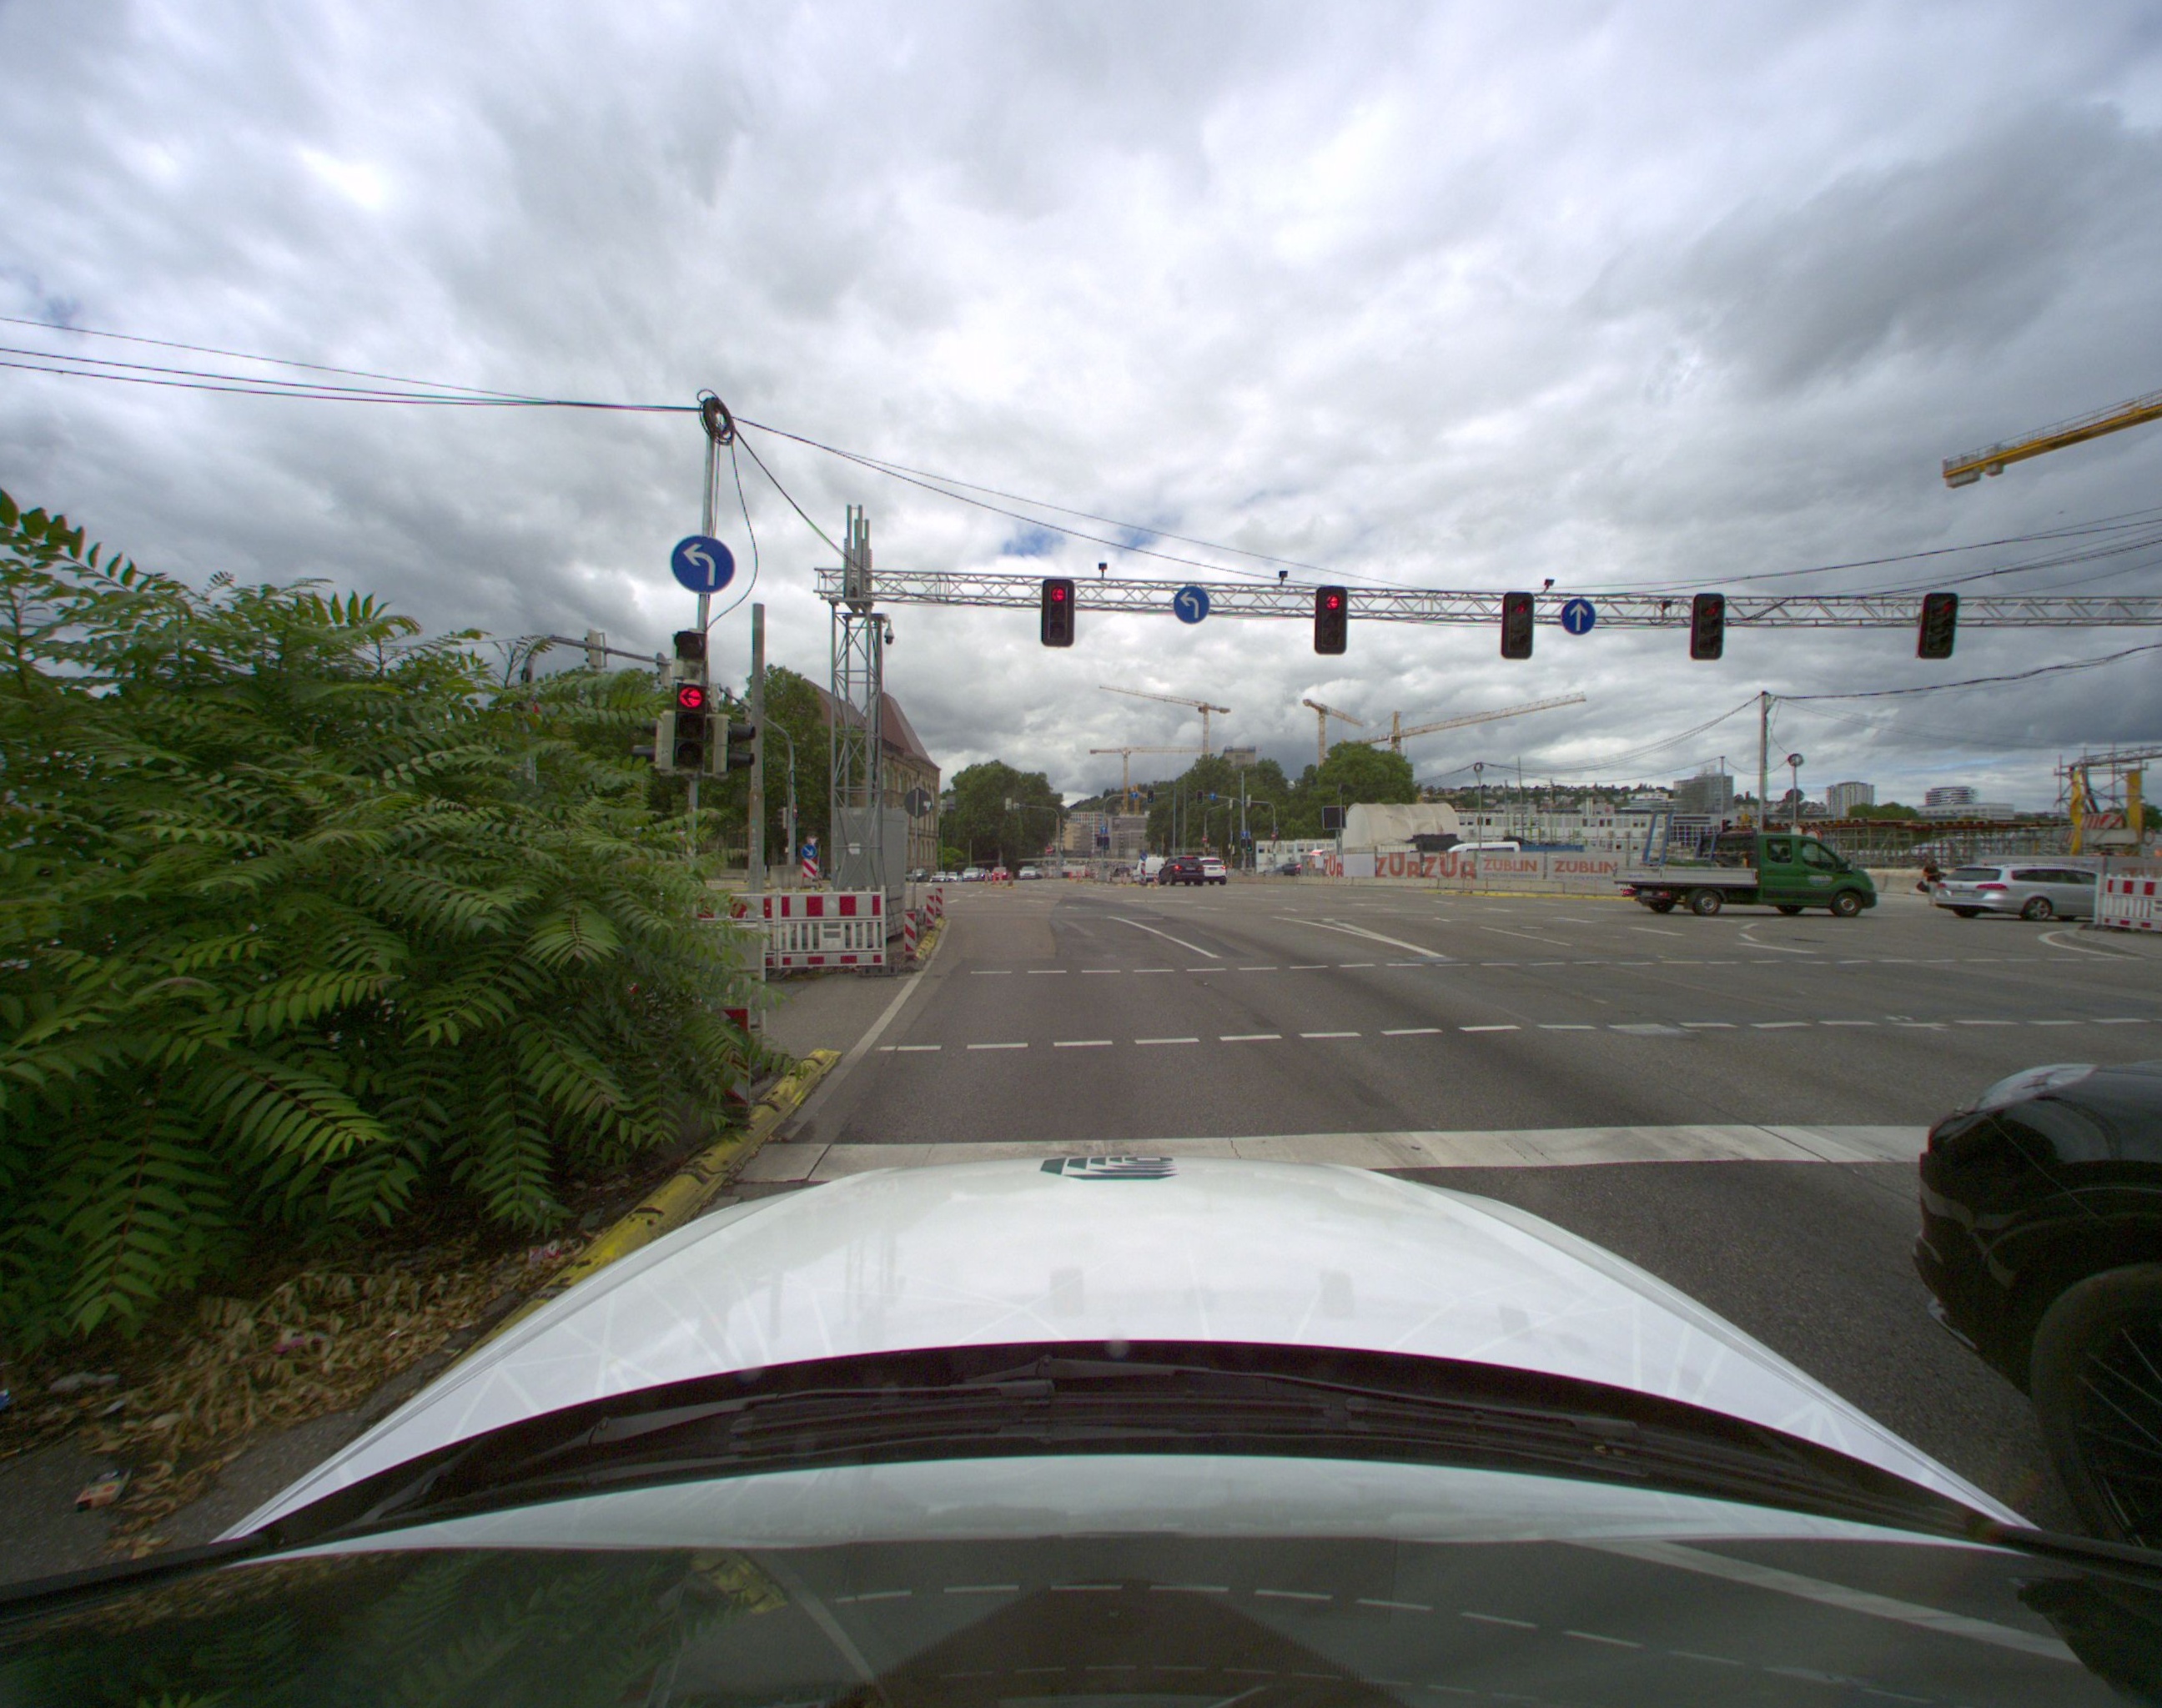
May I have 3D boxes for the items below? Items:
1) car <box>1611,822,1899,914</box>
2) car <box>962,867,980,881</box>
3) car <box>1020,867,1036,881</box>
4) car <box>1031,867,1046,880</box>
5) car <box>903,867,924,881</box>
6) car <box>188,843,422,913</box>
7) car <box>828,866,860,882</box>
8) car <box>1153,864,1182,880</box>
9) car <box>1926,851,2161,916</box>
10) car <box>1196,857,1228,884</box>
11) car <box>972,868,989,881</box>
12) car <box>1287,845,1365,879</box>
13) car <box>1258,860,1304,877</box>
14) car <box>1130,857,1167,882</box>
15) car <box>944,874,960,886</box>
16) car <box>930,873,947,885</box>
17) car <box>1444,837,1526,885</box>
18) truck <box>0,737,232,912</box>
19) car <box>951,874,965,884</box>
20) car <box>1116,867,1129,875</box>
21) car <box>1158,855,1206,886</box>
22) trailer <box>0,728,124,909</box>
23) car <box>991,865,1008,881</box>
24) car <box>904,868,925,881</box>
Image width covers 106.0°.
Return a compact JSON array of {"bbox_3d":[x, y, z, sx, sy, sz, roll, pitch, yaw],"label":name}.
[{"bbox_3d":[17.841,0.364,21.832,5.736,2.305,2.305,0,-1,2],"label":"car"},{"bbox_3d":[-11.621,2.111,86.072,1.673,1.398,3.677,0,-1,-4],"label":"car"},{"bbox_3d":[-5.586,2.063,85.329,1.673,1.398,3.677,0,-1,-4],"label":"car"},{"bbox_3d":[-4.927,2.221,94.146,1.673,1.398,3.677,0,-1,-4],"label":"car"},{"bbox_3d":[-17.907,2.164,87.083,1.673,1.398,3.677,0,-1,-4],"label":"car"},{"bbox_3d":[-19.319,0.579,20.411,4.041,1.625,1.829,0,-1,-1],"label":"car"},{"bbox_3d":[-21.900,1.805,75.282,1.668,1.398,3.687,0,-1,4],"label":"car"},{"bbox_3d":[8.019,1.677,75.955,1.680,1.398,3.069,0,-1,-16],"label":"car"},{"bbox_3d":[25.493,0.760,21.401,4.691,1.625,1.682,0,-1,2],"label":"car"},{"bbox_3d":[8.478,1.054,52.996,1.670,1.702,3.375,0,-1,2],"label":"car"},{"bbox_3d":[-11.367,2.260,92.229,1.673,1.398,3.677,0,-1,-4],"label":"car"},{"bbox_3d":[22.717,0.703,75.493,6.753,3.052,2.358,0,-1,-17],"label":"car"},{"bbox_3d":[19.492,1.436,79.538,3.996,1.625,1.812,0,-1,-17],"label":"car"},{"bbox_3d":[4.566,1.016,55.574,1.814,1.625,3.992,0,-1,-5],"label":"car"},{"bbox_3d":[-17.211,3.459,108.778,1.672,1.398,3.678,0,0,-3],"label":"car"},{"bbox_3d":[-17.526,3.112,100.304,1.673,1.398,3.677,0,-1,-4],"label":"car"},{"bbox_3d":[23.230,0.425,46.969,3.957,2.662,1.688,-1,-1,15],"label":"car"},{"bbox_3d":[-25.246,-0.677,20.327,4.864,4.064,2.942,0,-1,-3],"label":"truck"},{"bbox_3d":[-17.497,3.545,116.310,1.673,1.398,3.677,0,-1,-4],"label":"car"},{"bbox_3d":[5.750,2.320,112.357,1.307,1.075,3.675,0,0,-6],"label":"car"},{"bbox_3d":[5.959,0.939,48.489,1.830,1.746,4.244,0,-1,-8],"label":"car"},{"bbox_3d":[-32.422,-0.780,19.998,13.708,4.281,2.945,0,-1,-3],"label":"trailer"},{"bbox_3d":[-8.481,1.990,85.087,1.673,1.580,3.677,0,-1,-4],"label":"car"},{"bbox_3d":[-18.004,2.192,88.223,1.673,1.398,3.677,0,-1,-4],"label":"car"}]
